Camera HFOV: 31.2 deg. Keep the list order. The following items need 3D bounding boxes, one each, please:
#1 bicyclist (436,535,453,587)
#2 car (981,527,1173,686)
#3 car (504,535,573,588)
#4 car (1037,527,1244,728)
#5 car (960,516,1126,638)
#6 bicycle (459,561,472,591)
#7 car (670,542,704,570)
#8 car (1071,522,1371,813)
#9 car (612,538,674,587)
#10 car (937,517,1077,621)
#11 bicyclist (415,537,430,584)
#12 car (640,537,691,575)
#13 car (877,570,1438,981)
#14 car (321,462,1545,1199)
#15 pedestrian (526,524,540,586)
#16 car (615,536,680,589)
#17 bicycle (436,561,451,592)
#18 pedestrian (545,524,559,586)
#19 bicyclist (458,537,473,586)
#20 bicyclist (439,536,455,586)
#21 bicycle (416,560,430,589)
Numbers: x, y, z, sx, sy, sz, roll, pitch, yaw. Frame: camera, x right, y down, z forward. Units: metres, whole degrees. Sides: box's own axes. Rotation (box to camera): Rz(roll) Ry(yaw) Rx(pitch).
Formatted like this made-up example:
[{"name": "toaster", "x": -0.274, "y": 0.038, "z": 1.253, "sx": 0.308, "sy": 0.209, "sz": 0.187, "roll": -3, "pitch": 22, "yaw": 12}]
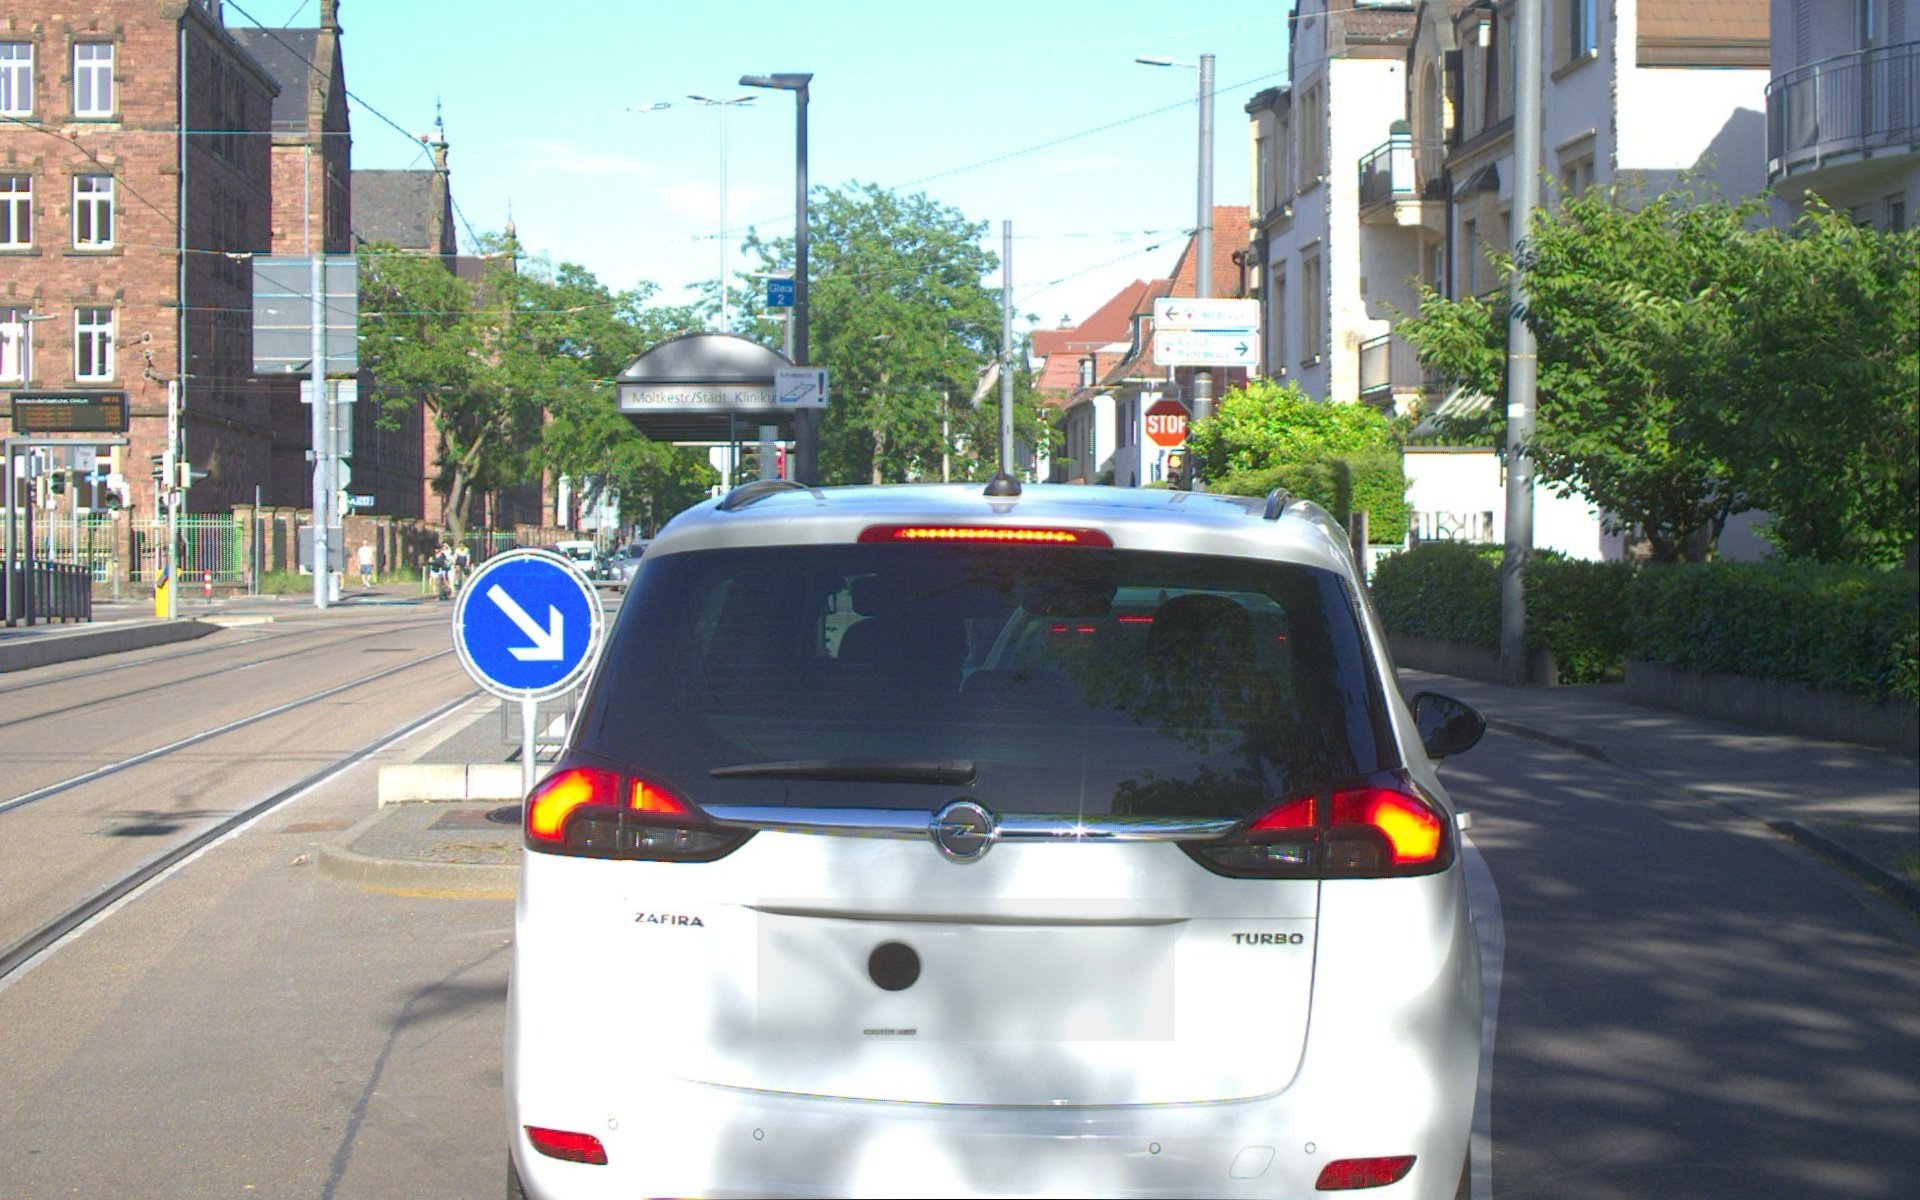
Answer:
[{"name": "bicyclist", "x": -15.477, "y": -1.176, "z": 103.287, "sx": 0.444, "sy": 1.548, "sz": 0.743, "roll": 0, "pitch": 1, "yaw": -4}, {"name": "car", "x": 1.177, "y": 0.029, "z": 36.184, "sx": 1.830, "sy": 1.574, "sz": 4.010, "roll": 0, "pitch": 1, "yaw": -1}, {"name": "car", "x": -13.119, "y": -1.218, "z": 107.091, "sx": 1.993, "sy": 1.623, "sz": 4.001, "roll": 0, "pitch": 1, "yaw": -5}, {"name": "car", "x": 1.495, "y": 0.183, "z": 29.260, "sx": 1.637, "sy": 1.595, "sz": 3.854, "roll": 0, "pitch": 1, "yaw": 2}, {"name": "car", "x": 1.020, "y": -0.314, "z": 44.304, "sx": 1.993, "sy": 1.497, "sz": 4.000, "roll": 0, "pitch": 1, "yaw": -1}, {"name": "bicycle", "x": -15.701, "y": -0.772, "z": 109.168, "sx": 0.344, "sy": 0.946, "sz": 0.997, "roll": 1, "pitch": 0, "yaw": -4}, {"name": "car", "x": -15.989, "y": -2.597, "z": 201.168, "sx": 1.993, "sy": 1.623, "sz": 3.989, "roll": 0, "pitch": 1, "yaw": -5}, {"name": "car", "x": 1.494, "y": 0.335, "z": 20.832, "sx": 1.637, "sy": 1.595, "sz": 3.854, "roll": 0, "pitch": 1, "yaw": 2}, {"name": "car", "x": -10.536, "y": -1.263, "z": 114.420, "sx": 1.993, "sy": 1.623, "sz": 4.001, "roll": 0, "pitch": 1, "yaw": -5}, {"name": "car", "x": 0.667, "y": -0.483, "z": 51.764, "sx": 1.993, "sy": 1.497, "sz": 4.000, "roll": 0, "pitch": 1, "yaw": -1}, {"name": "bicyclist", "x": -17.985, "y": -1.329, "z": 115.099, "sx": 0.444, "sy": 1.548, "sz": 0.496, "roll": 0, "pitch": 1, "yaw": -4}, {"name": "car", "x": -12.691, "y": -1.911, "z": 148.188, "sx": 1.993, "sy": 1.623, "sz": 4.001, "roll": 0, "pitch": 1, "yaw": -2}, {"name": "car", "x": 0.747, "y": 0.592, "z": 13.987, "sx": 1.953, "sy": 1.392, "sz": 4.000, "roll": 0, "pitch": 1, "yaw": 2}, {"name": "car", "x": 0.139, "y": 0.586, "z": 7.606, "sx": 1.994, "sy": 1.639, "sz": 3.992, "roll": 1, "pitch": 1, "yaw": 6}, {"name": "pedestrian", "x": -13.910, "y": -1.470, "z": 111.980, "sx": 0.444, "sy": 2.007, "sz": 0.496, "roll": 0, "pitch": 1, "yaw": -4}, {"name": "car", "x": -9.739, "y": -1.181, "z": 107.314, "sx": 1.993, "sy": 1.623, "sz": 4.001, "roll": 0, "pitch": 1, "yaw": -5}, {"name": "bicycle", "x": -15.485, "y": -0.708, "z": 103.086, "sx": 0.344, "sy": 0.946, "sz": 1.160, "roll": 1, "pitch": 0, "yaw": -4}, {"name": "pedestrian", "x": -13.320, "y": -1.464, "z": 112.249, "sx": 0.444, "sy": 2.007, "sz": 0.496, "roll": 0, "pitch": 1, "yaw": -4}, {"name": "bicyclist", "x": -15.691, "y": -1.237, "z": 109.154, "sx": 0.444, "sy": 1.548, "sz": 0.496, "roll": 0, "pitch": 1, "yaw": -4}, {"name": "bicyclist", "x": -15.895, "y": -1.214, "z": 106.569, "sx": 0.444, "sy": 1.548, "sz": 0.496, "roll": 0, "pitch": 1, "yaw": -4}, {"name": "bicycle", "x": -17.990, "y": -0.863, "z": 115.143, "sx": 0.344, "sy": 0.946, "sz": 0.997, "roll": 1, "pitch": 0, "yaw": -4}]
